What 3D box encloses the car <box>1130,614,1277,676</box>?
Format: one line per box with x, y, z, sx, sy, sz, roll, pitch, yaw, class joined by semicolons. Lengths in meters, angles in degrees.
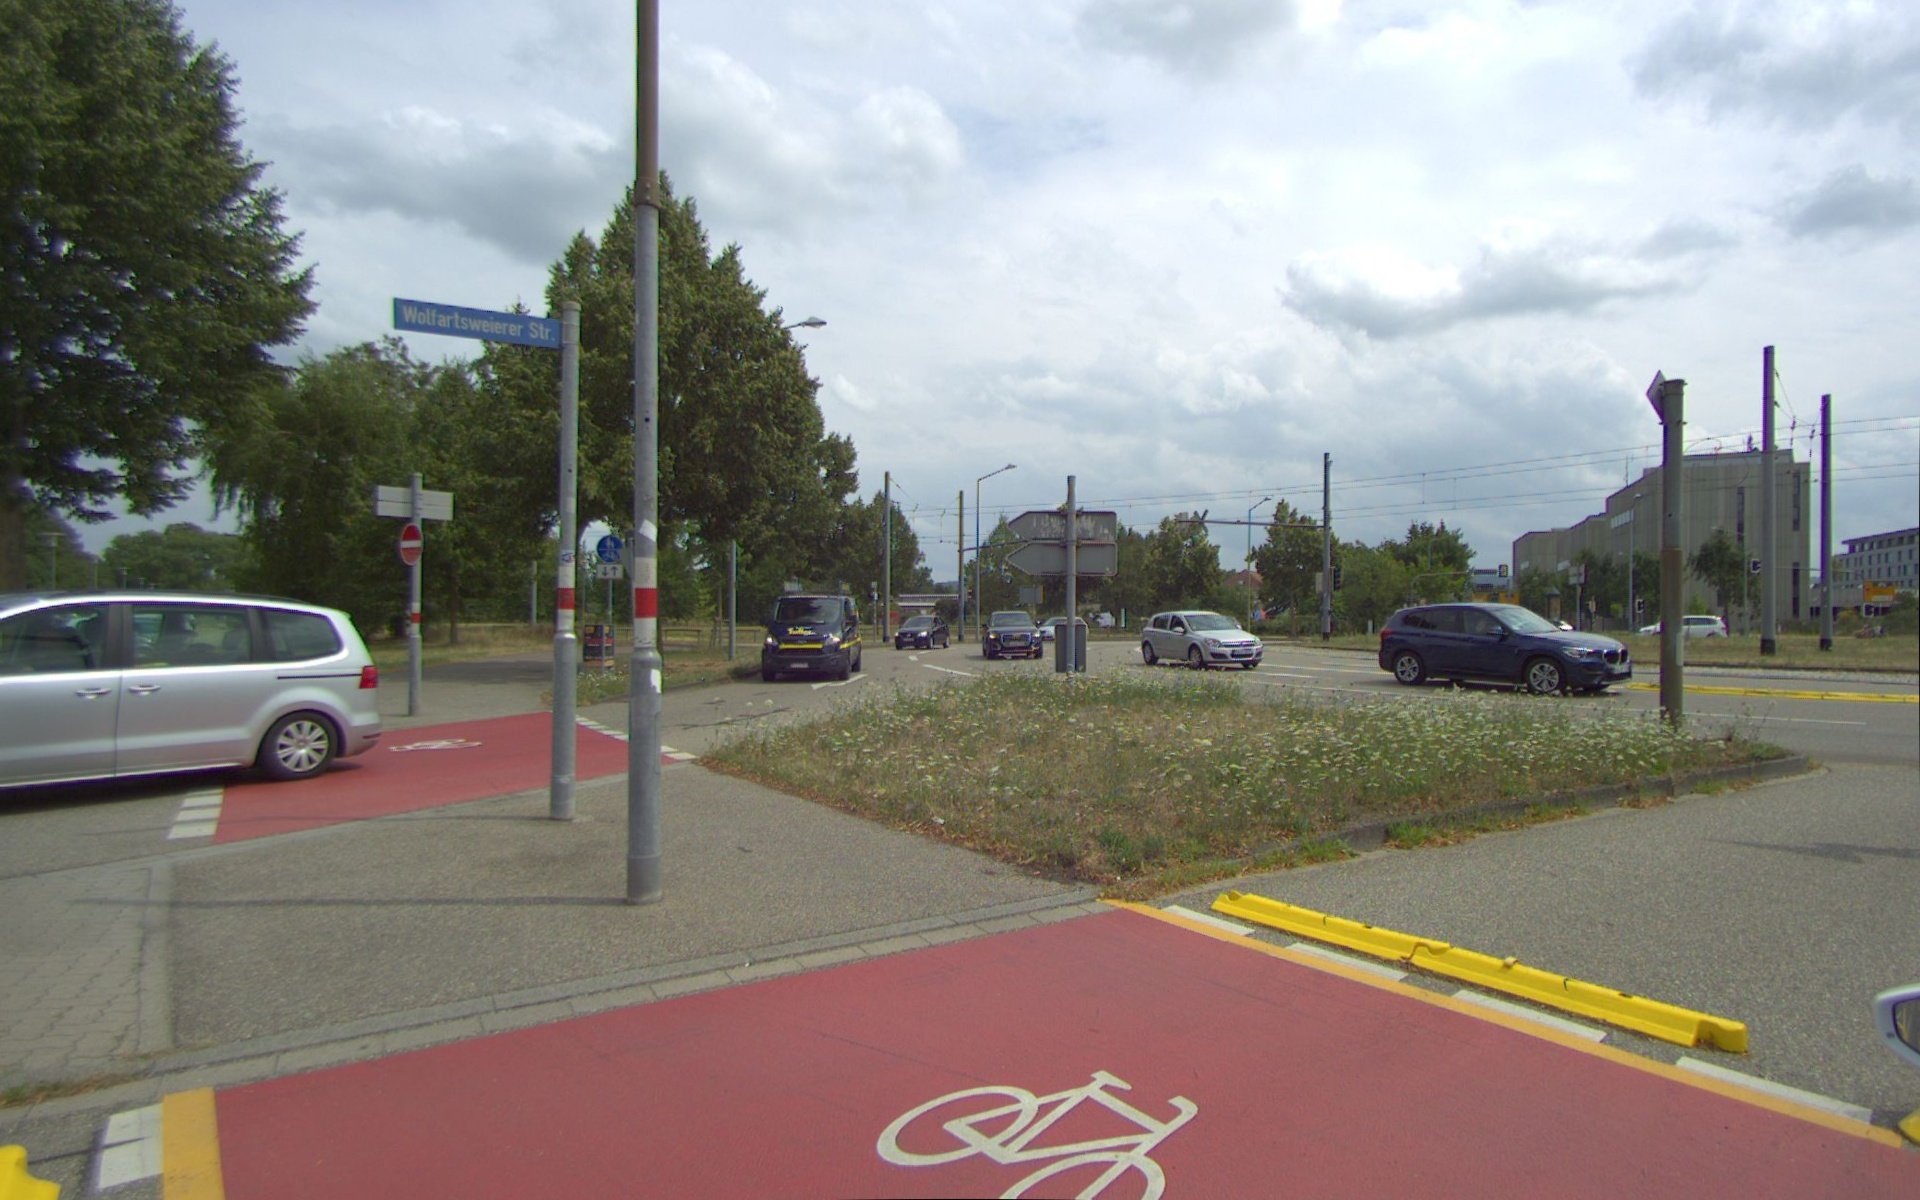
6.256;1.111;26.369;1.802;1.482;4.243;1;-1;-18;car

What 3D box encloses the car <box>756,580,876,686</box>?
-3.343;0.758;24.420;1.960;2.303;5.162;0;-1;2;car

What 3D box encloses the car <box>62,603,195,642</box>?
-45.664;1.243;55.349;5.524;2.083;2.176;1;-1;-40;car

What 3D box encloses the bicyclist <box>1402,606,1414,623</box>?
36.942;1.211;82.763;0.660;1.428;0.865;0;-1;6;bicyclist

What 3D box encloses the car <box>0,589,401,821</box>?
-7.307;0.753;8.054;1.769;1.644;4.741;0;-1;28;car

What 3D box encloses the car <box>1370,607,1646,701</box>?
10.095;0.921;18.869;1.712;1.554;4.337;1;-1;-30;car

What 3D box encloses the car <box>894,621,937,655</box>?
-1.916;1.659;44.380;1.599;1.433;3.723;-1;-2;2;car

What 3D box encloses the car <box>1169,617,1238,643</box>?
15.398;1.868;63.432;4.438;1.572;2.041;1;-1;-40;car

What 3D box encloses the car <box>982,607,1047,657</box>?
1.735;1.029;33.043;1.707;1.539;4.145;0;-1;-3;car

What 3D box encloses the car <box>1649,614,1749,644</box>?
43.327;1.683;58.984;4.267;1.688;1.939;1;-1;15;car

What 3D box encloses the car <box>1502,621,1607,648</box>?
36.008;2.085;60.946;5.078;1.502;2.001;0;-1;9;car
